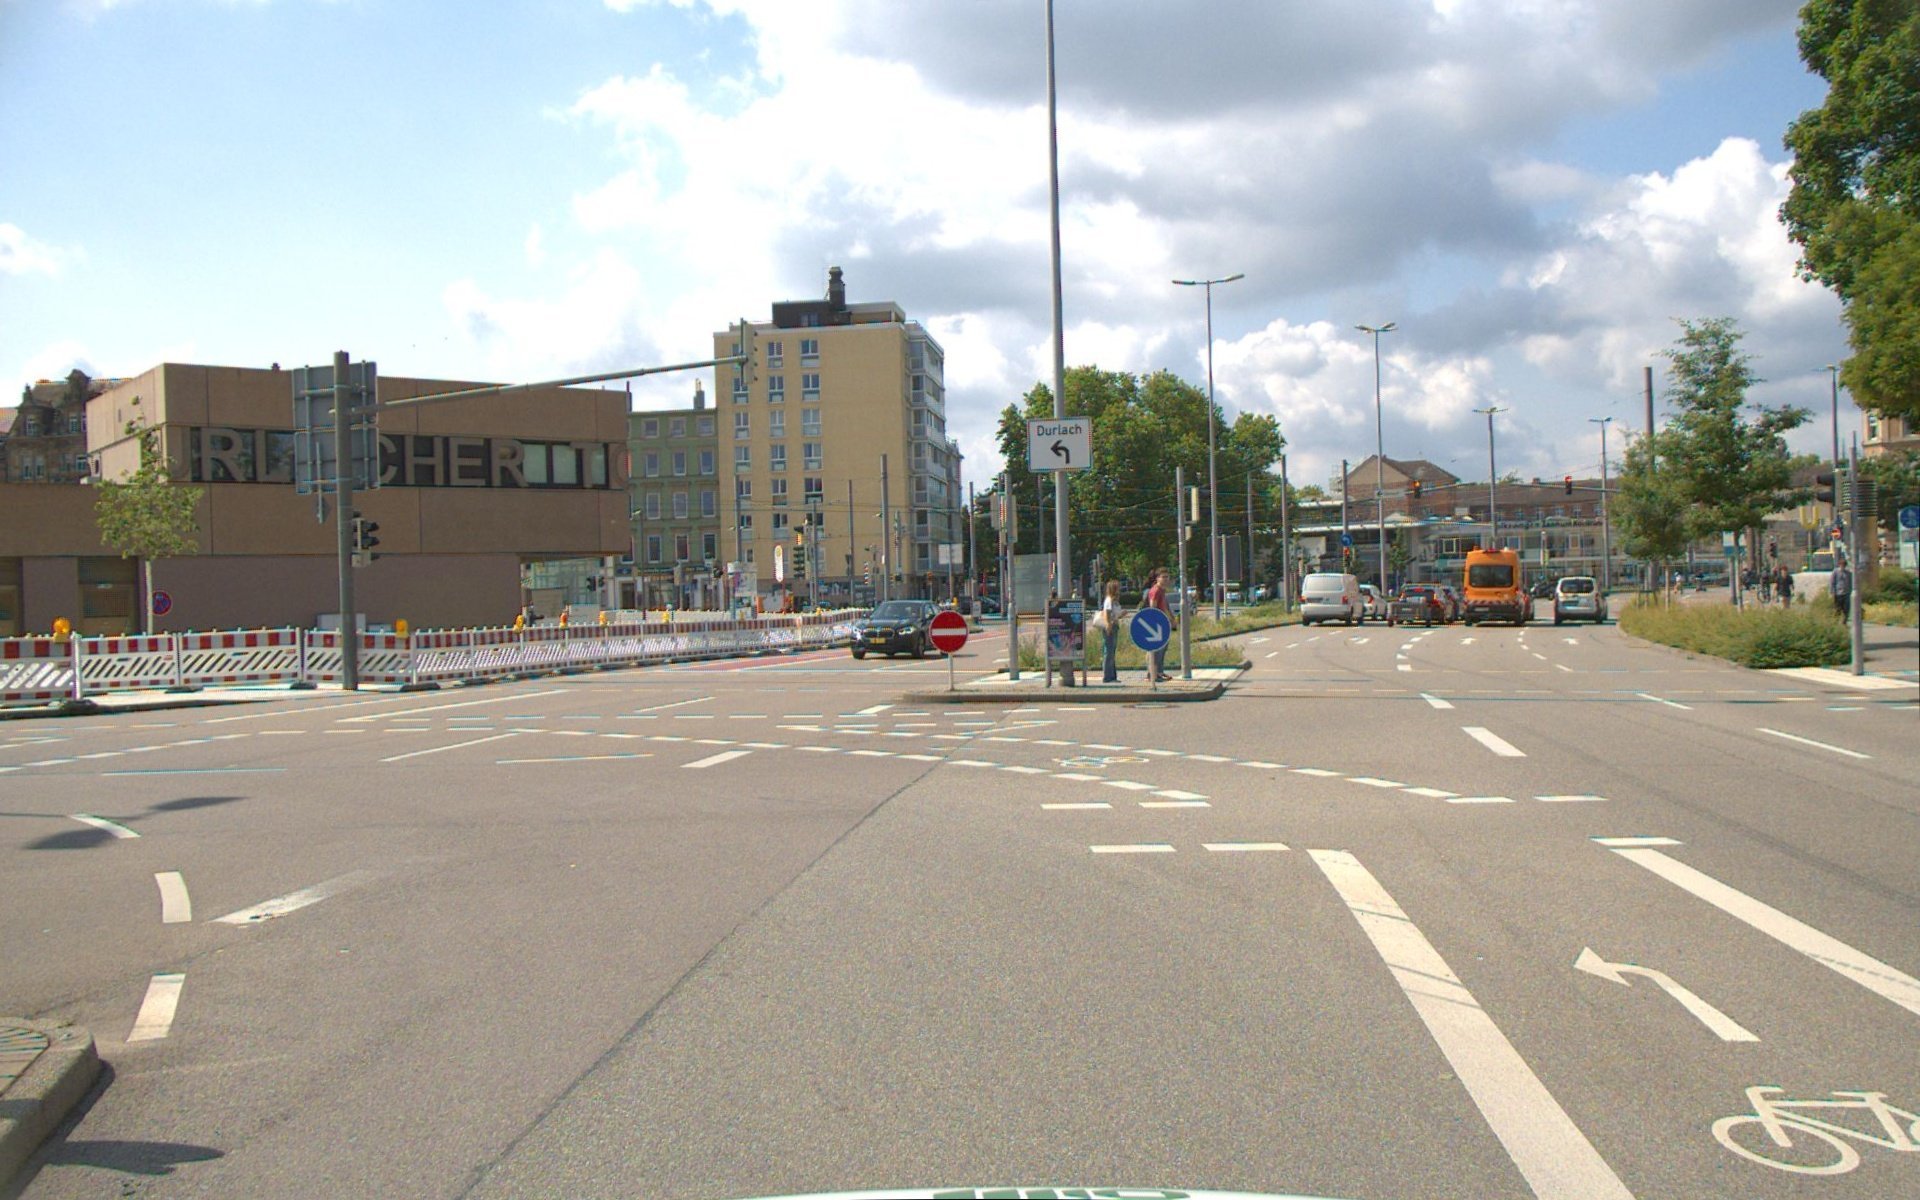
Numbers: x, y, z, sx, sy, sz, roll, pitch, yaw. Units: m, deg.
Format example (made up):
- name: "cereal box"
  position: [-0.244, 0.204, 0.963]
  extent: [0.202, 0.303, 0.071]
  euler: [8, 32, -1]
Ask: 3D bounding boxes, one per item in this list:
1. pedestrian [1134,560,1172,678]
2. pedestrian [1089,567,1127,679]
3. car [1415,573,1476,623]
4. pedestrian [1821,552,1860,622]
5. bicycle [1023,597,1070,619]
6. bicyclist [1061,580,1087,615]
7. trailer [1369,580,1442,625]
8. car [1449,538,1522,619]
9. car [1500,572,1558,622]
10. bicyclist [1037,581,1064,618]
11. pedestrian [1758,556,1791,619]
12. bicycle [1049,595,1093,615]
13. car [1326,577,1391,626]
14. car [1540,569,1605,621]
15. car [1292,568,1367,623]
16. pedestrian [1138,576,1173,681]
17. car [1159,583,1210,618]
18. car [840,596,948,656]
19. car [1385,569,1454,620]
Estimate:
- name: "pedestrian"
  position: [2.962, 0.285, 25.365]
  extent: [0.513, 1.763, 0.624]
  euler: [-2, 0, 9]
- name: "pedestrian"
  position: [2.382, 0.364, 26.538]
  extent: [0.513, 1.763, 0.624]
  euler: [-2, 0, 9]
- name: "car"
  position: [20.812, -0.106, 70.809]
  extent: [1.951, 1.972, 4.638]
  euler: [-2, 0, 23]
- name: "pedestrian"
  position: [23.283, -0.334, 43.736]
  extent: [0.771, 1.815, 0.667]
  euler: [-2, 0, 20]
- name: "bicycle"
  position: [4.669, 0.425, 89.072]
  extent: [2.329, 1.085, 0.858]
  euler: [-2, 0, 20]
- name: "bicyclist"
  position: [6.435, -0.157, 93.311]
  extent: [1.194, 1.943, 0.834]
  euler: [-2, 0, 20]
- name: "trailer"
  position: [16.512, 0.075, 61.231]
  extent: [1.954, 1.503, 3.998]
  euler: [-2, 0, 24]
- name: "car"
  position: [19.742, -0.806, 62.048]
  extent: [2.087, 2.829, 4.638]
  euler: [-2, 0, 23]
- name: "car"
  position: [24.077, -0.139, 69.944]
  extent: [1.951, 1.972, 4.638]
  euler: [-2, 0, 23]
- name: "bicyclist"
  position: [4.857, -0.010, 89.003]
  extent: [1.194, 1.943, 0.858]
  euler: [-2, 0, 20]
- name: "pedestrian"
  position: [23.711, -0.368, 48.171]
  extent: [0.772, 1.815, 0.667]
  euler: [-2, 0, 22]
- name: "bicycle"
  position: [6.255, 0.279, 93.378]
  extent: [2.329, 1.085, 0.843]
  euler: [-2, 0, 20]
- name: "car"
  position: [17.226, 0.042, 71.387]
  extent: [1.951, 1.972, 4.638]
  euler: [-2, 0, 23]
- name: "car"
  position: [23.309, -0.222, 62.881]
  extent: [1.954, 1.826, 3.998]
  euler: [-2, 0, 25]
- name: "car"
  position: [14.347, -0.211, 64.065]
  extent: [1.965, 2.001, 4.638]
  euler: [-2, 0, 23]
- name: "pedestrian"
  position: [3.256, 0.467, 27.529]
  extent: [0.513, 1.713, 0.624]
  euler: [-2, 0, 9]
- name: "car"
  position: [9.989, -0.002, 73.485]
  extent: [1.627, 1.506, 4.064]
  euler: [1, 1, 16]
- name: "car"
  position: [-1.627, 0.631, 42.186]
  extent: [1.754, 1.412, 4.231]
  euler: [-1, 0, 12]
- name: "car"
  position: [17.989, -0.224, 64.589]
  extent: [1.954, 1.858, 3.998]
  euler: [-2, 0, 24]
